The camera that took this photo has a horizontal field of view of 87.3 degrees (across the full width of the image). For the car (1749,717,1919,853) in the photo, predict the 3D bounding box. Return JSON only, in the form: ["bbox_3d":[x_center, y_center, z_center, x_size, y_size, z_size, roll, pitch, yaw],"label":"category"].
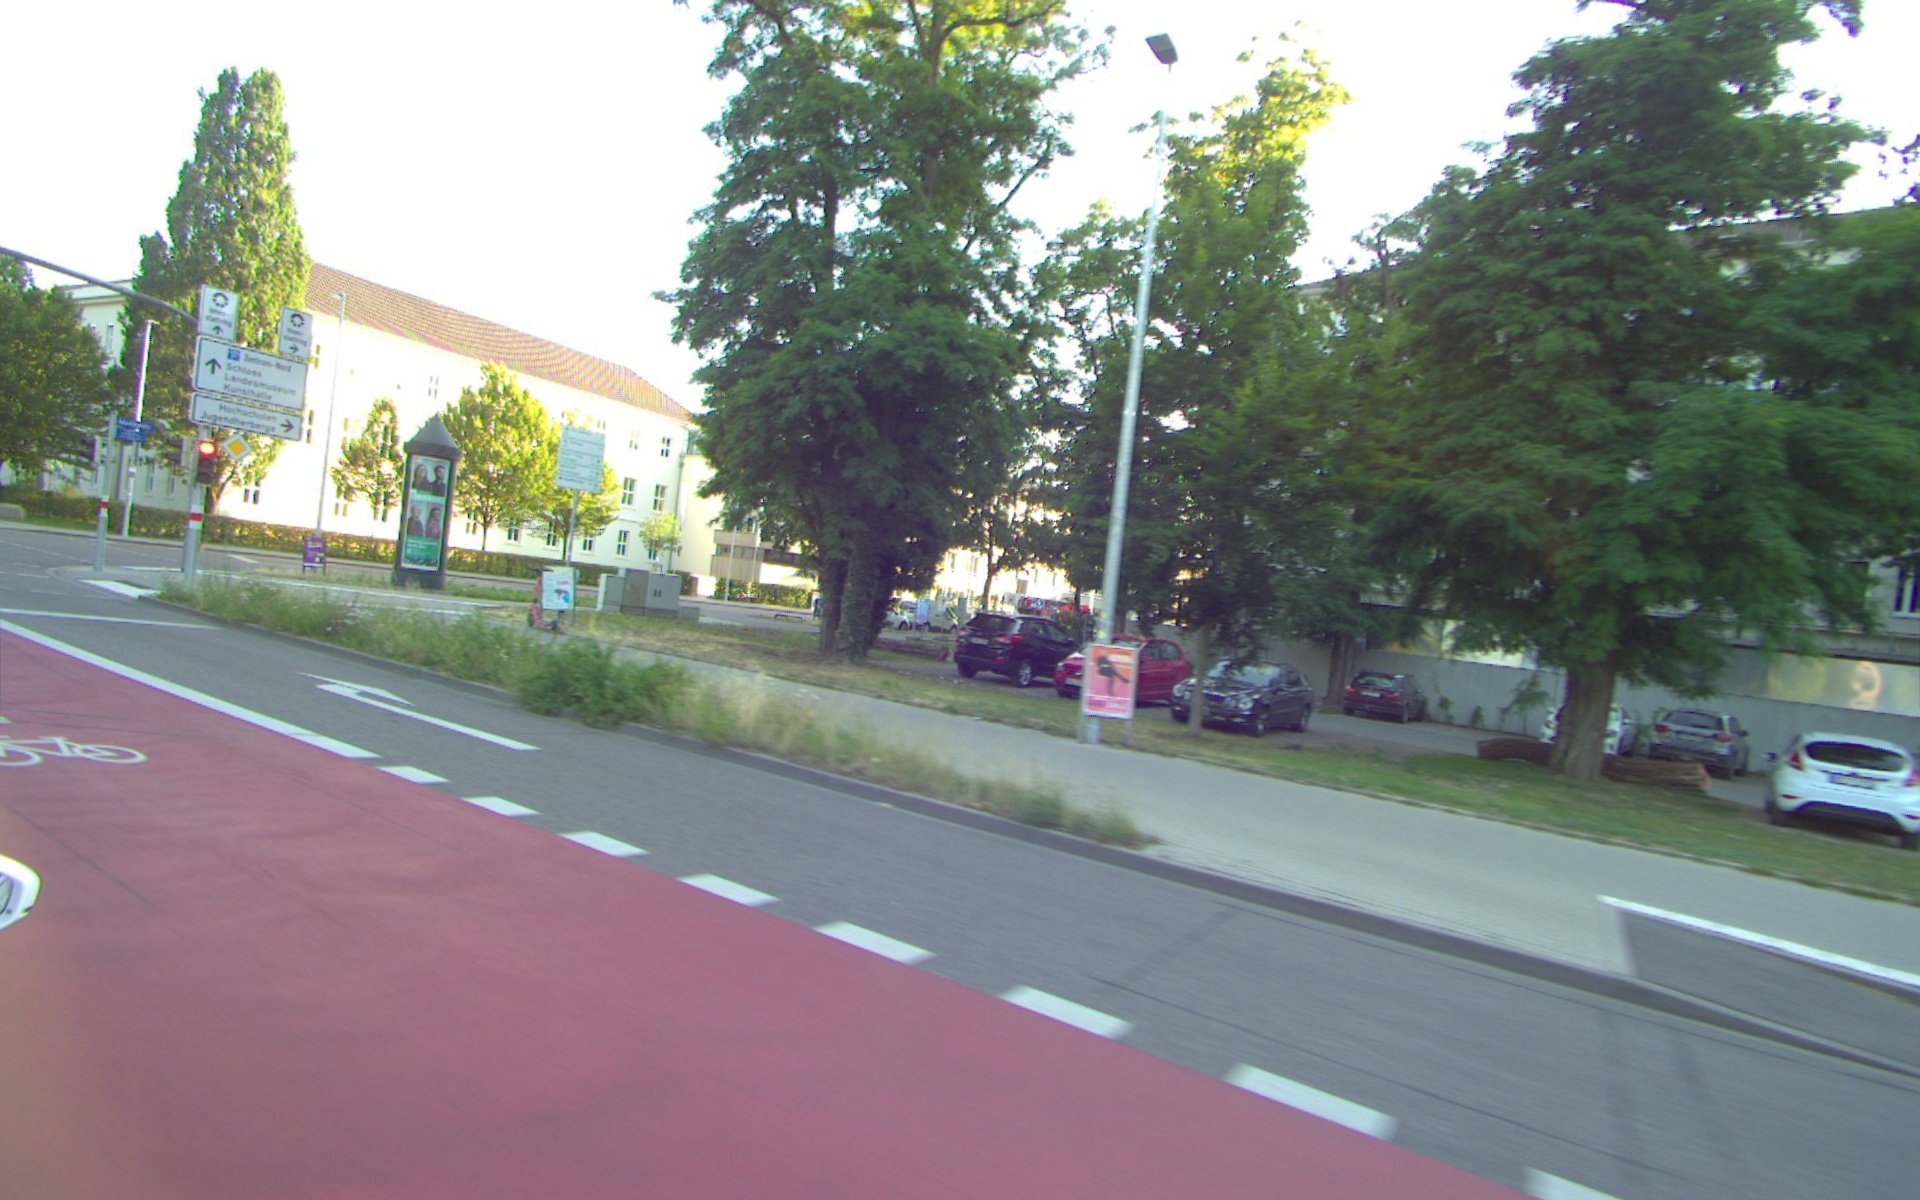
[{"bbox_3d":[13.547,2.746,15.460,1.882,1.555,3.990,7,-2,36],"label":"car"}]

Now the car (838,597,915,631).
[{"bbox_3d":[-4.476,0.789,54.418,1.793,1.358,3.986,7,-1,38],"label":"car"}]

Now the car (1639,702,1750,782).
[{"bbox_3d":[18.926,3.631,25.863,1.886,1.635,3.984,6,-2,41],"label":"car"}]

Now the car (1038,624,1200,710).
[{"bbox_3d":[3.695,1.571,22.864,1.759,1.580,3.984,7,0,39],"label":"car"}]

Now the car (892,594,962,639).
[{"bbox_3d":[-1.843,0.959,57.862,1.714,2.037,3.989,7,-1,37],"label":"car"}]

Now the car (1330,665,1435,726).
[{"bbox_3d":[12.862,2.935,30.467,1.873,1.459,3.988,7,-2,37],"label":"car"}]

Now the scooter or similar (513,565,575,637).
[{"bbox_3d":[-8.101,0.009,19.560,1.289,1.246,0.311,7,1,33],"label":"scooter or similar"}]

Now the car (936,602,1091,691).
[{"bbox_3d":[1.391,1.184,24.674,1.808,1.714,3.899,7,-1,36],"label":"car"}]

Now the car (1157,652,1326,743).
[{"bbox_3d":[5.898,1.911,20.693,1.871,1.467,4.568,5,0,35],"label":"car"}]

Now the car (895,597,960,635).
[{"bbox_3d":[-1.959,0.995,61.636,1.721,1.782,3.990,7,-1,36],"label":"car"}]

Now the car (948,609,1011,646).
[{"bbox_3d":[1.209,1.731,61.730,1.721,1.782,3.990,7,-1,36],"label":"car"}]

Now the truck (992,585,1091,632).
[{"bbox_3d":[6.183,0.731,74.035,2.328,2.314,10.051,7,-2,35],"label":"truck"}]

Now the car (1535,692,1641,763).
[{"bbox_3d":[16.920,3.428,27.009,1.807,1.492,3.986,7,-2,39],"label":"car"}]
